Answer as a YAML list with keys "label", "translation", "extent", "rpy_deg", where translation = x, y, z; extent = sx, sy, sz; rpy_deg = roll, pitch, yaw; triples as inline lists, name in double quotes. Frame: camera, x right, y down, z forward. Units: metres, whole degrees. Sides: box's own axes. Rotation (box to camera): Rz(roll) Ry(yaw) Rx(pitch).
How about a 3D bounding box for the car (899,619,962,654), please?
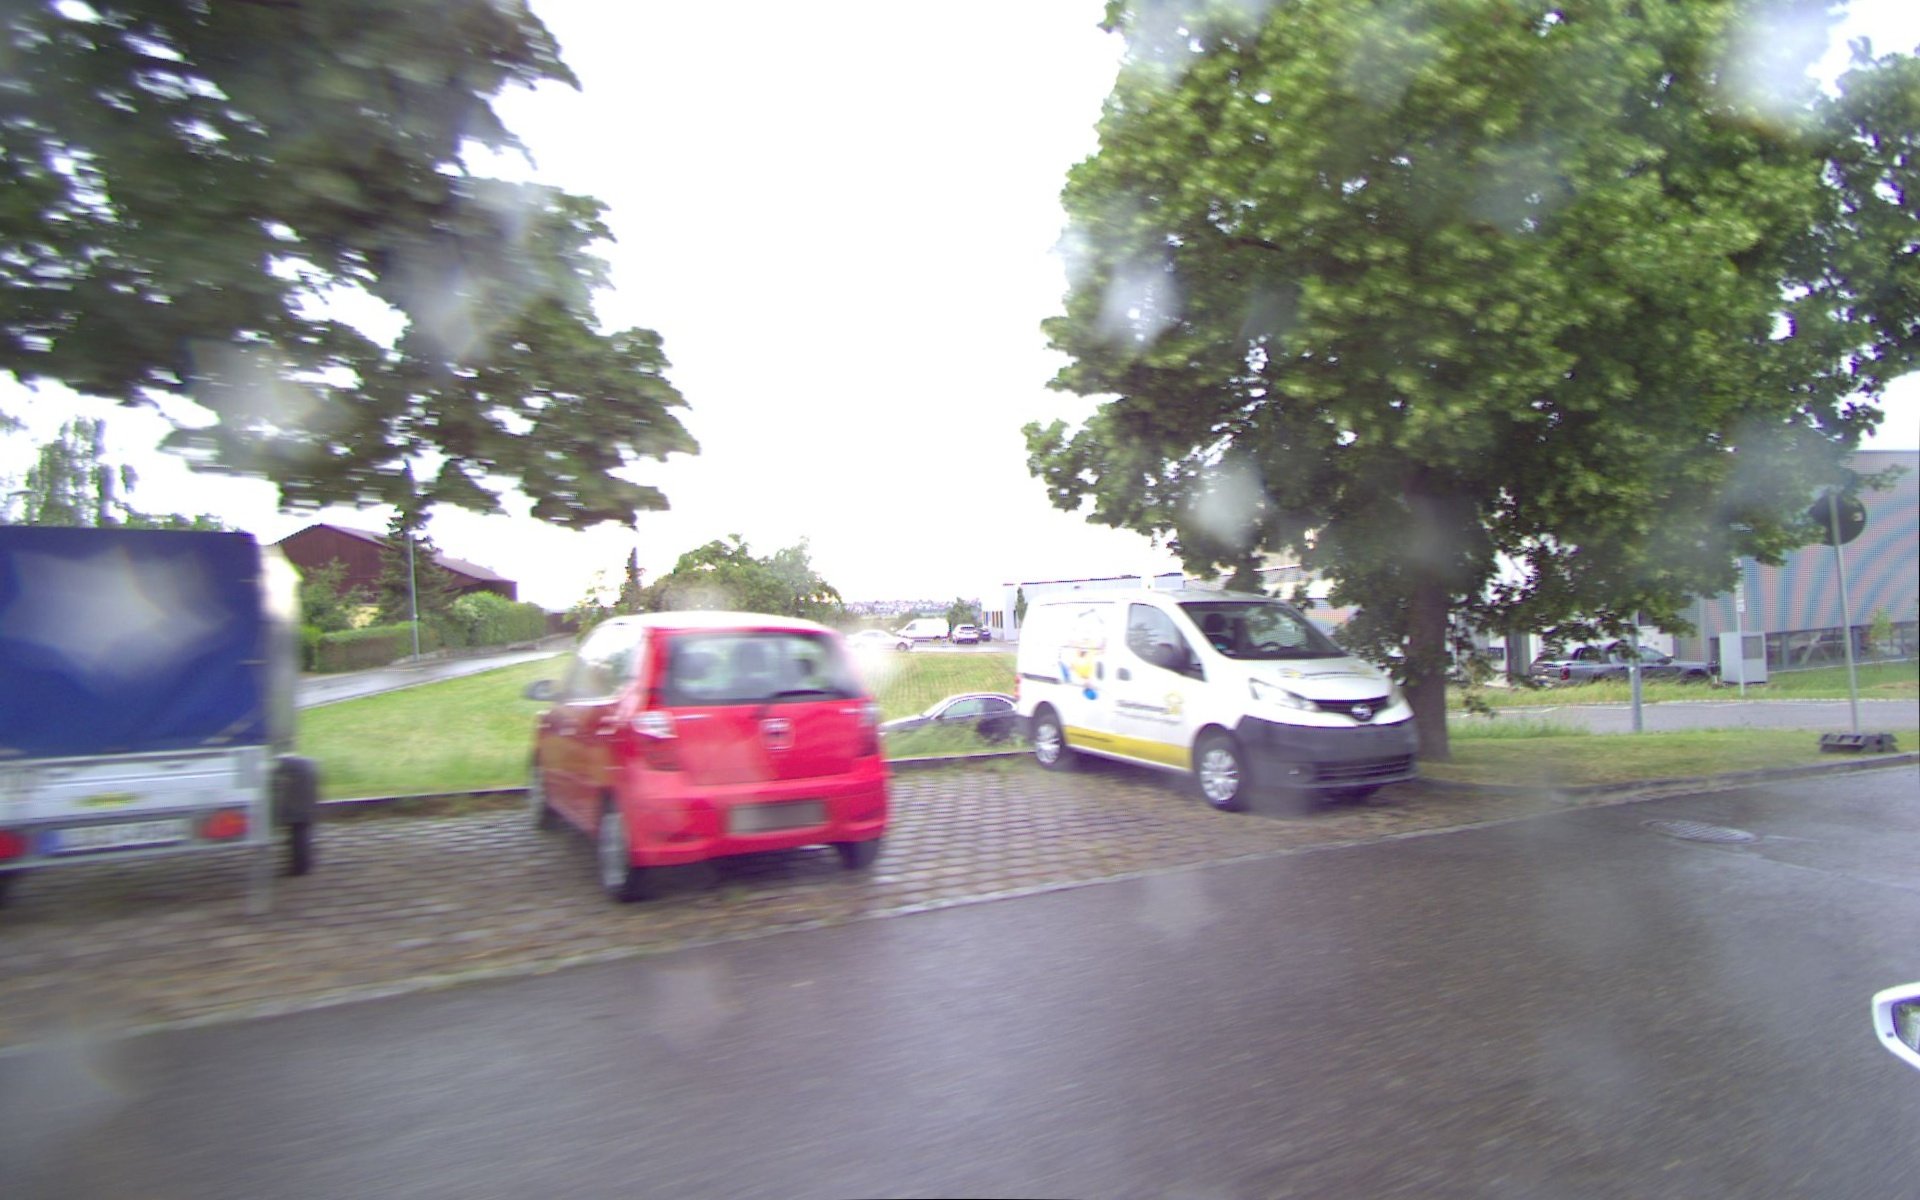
- label: "car"
  translation: [-3.153, 3.862, 106.879]
  extent: [6.599, 3.469, 2.545]
  rpy_deg: [-1, -4, -2]

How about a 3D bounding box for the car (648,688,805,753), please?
- label: "car"
  translation: [-5.833, 3.021, 25.409]
  extent: [3.635, 1.465, 1.563]
  rpy_deg: [0, -3, -4]

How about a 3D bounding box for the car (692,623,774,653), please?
- label: "car"
  translation: [-15.992, 2.696, 71.089]
  extent: [5.317, 2.000, 2.291]
  rpy_deg: [0, -4, -3]

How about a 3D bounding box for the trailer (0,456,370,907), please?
- label: "trailer"
  translation: [-4.934, 0.467, 6.535]
  extent: [1.753, 2.010, 4.194]
  rpy_deg: [2, -3, -29]

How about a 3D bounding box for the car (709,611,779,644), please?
- label: "car"
  translation: [-18.294, 2.323, 85.378]
  extent: [5.706, 2.737, 1.997]
  rpy_deg: [0, -1, -9]

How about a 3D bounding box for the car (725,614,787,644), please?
- label: "car"
  translation: [-18.492, 2.633, 91.215]
  extent: [5.331, 2.603, 1.998]
  rpy_deg: [1, -3, -8]

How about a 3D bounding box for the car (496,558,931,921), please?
- label: "car"
  translation: [-2.010, 0.783, 7.081]
  extent: [1.736, 1.744, 4.173]
  rpy_deg: [2, -3, -32]

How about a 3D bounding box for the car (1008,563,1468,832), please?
- label: "car"
  translation: [2.298, 0.823, 9.568]
  extent: [1.838, 1.930, 4.286]
  rpy_deg: [1, -3, -26]

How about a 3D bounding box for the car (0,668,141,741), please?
- label: "car"
  translation: [-29.921, 3.415, 33.503]
  extent: [1.894, 2.249, 4.499]
  rpy_deg: [-1, -4, -8]

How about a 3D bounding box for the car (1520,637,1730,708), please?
- label: "car"
  translation: [21.762, 2.333, 33.013]
  extent: [5.502, 1.947, 2.135]
  rpy_deg: [-3, -1, -4]

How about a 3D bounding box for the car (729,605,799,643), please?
- label: "car"
  translation: [-18.302, 2.245, 93.911]
  extent: [6.178, 3.474, 2.000]
  rpy_deg: [0, -3, -2]

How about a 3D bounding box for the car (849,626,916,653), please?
- label: "car"
  translation: [-5.369, 2.784, 70.045]
  extent: [4.530, 1.669, 2.291]
  rpy_deg: [-1, -4, -3]

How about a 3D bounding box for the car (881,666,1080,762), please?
- label: "car"
  translation: [0.407, 2.604, 23.511]
  extent: [4.304, 1.776, 1.998]
  rpy_deg: [-4, -2, -8]

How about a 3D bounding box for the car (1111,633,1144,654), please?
- label: "car"
  translation: [13.552, 3.509, 81.595]
  extent: [1.961, 1.639, 4.000]
  rpy_deg: [0, -2, -1]

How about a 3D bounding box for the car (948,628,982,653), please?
- label: "car"
  translation: [0.343, 3.271, 81.305]
  extent: [2.238, 1.879, 4.715]
  rpy_deg: [-1, -1, -6]
